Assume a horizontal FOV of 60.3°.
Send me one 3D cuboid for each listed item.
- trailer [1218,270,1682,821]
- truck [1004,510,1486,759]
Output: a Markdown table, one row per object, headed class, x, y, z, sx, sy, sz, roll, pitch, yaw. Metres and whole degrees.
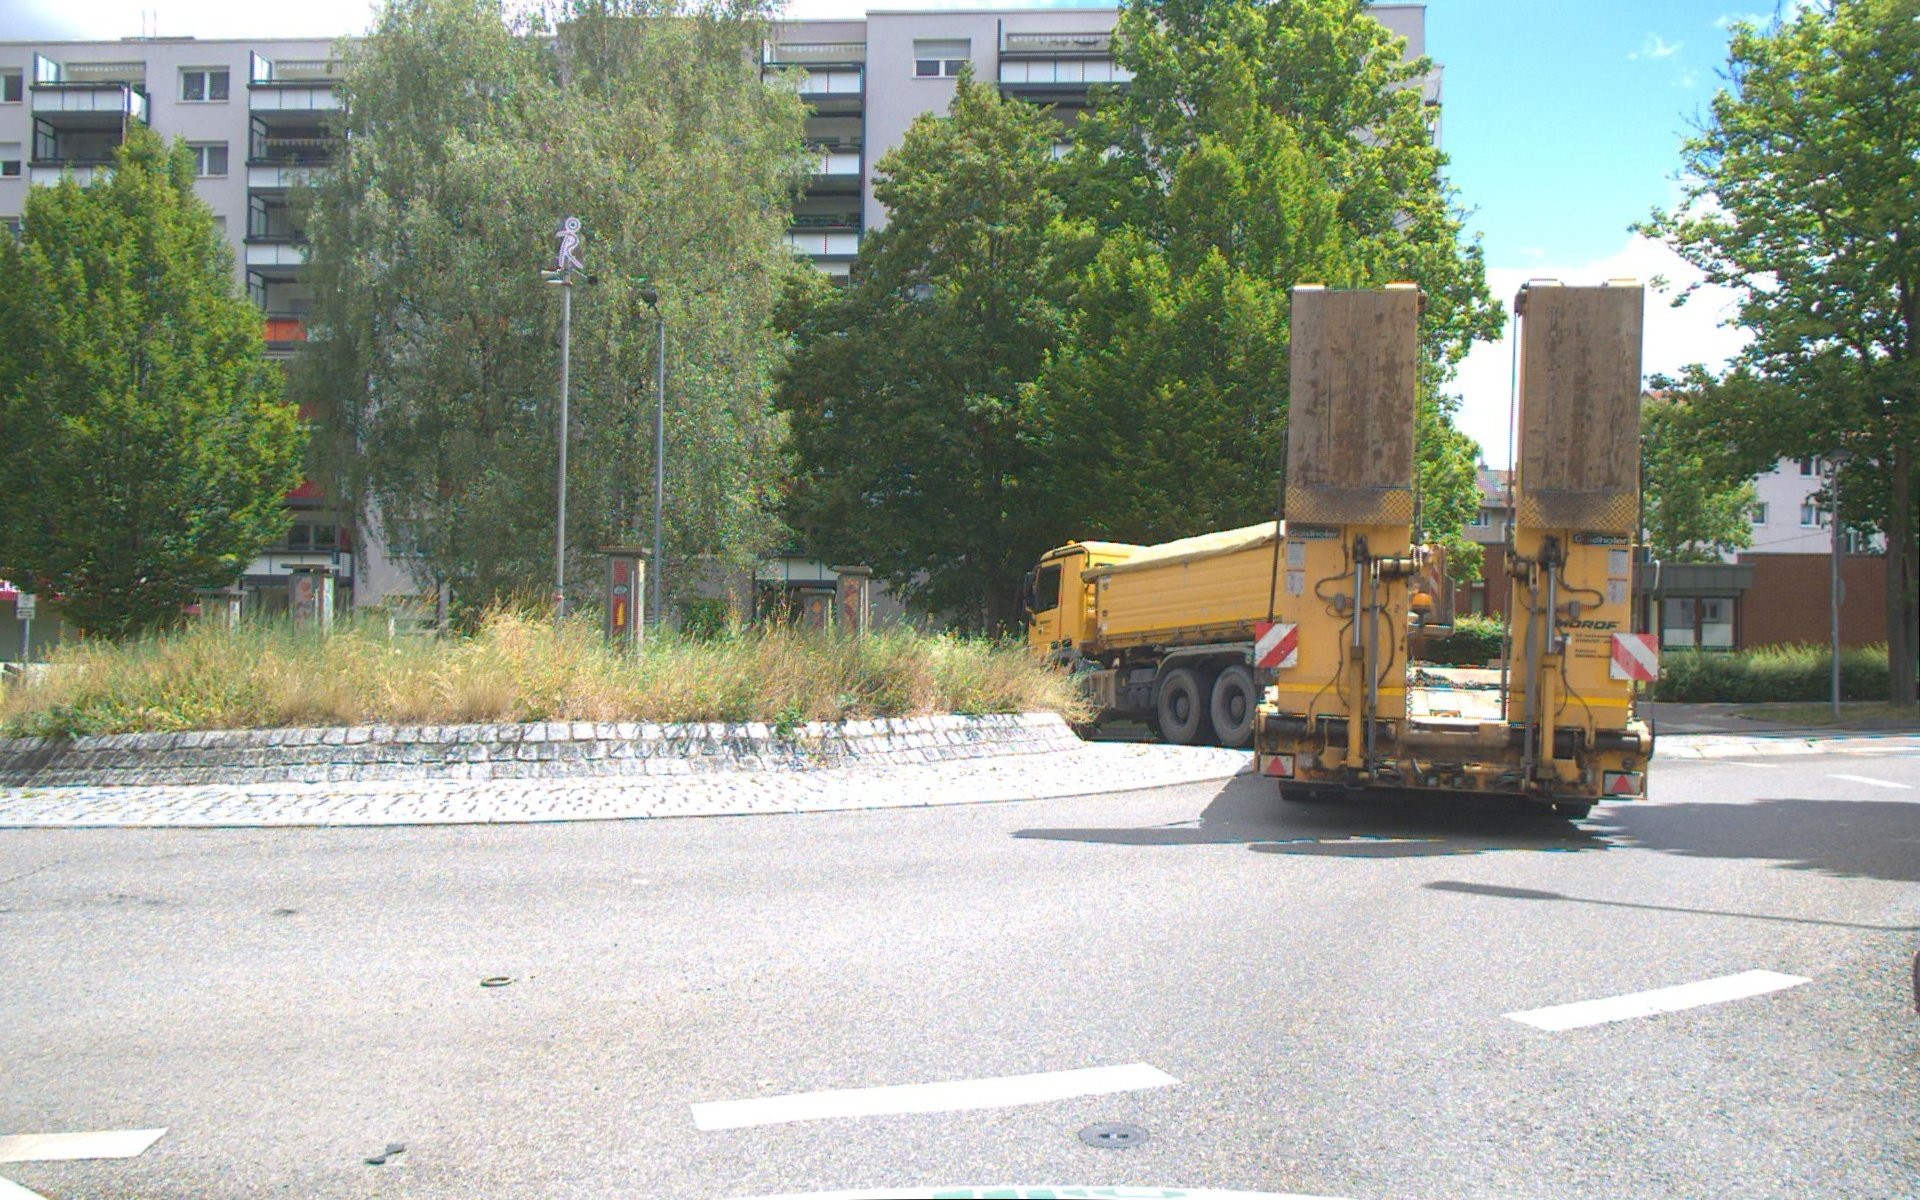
| class | x | y | z | sx | sy | sz | roll | pitch | yaw |
| --- | --- | --- | --- | --- | --- | --- | --- | --- | --- |
| trailer | 4.307 | -0.206 | 15.883 | 2.803 | 3.432 | 10.848 | 1 | -2 | 13 |
| truck | 3.834 | 0.493 | 24.969 | 2.950 | 3.088 | 8.418 | 0 | -1 | -25 |
